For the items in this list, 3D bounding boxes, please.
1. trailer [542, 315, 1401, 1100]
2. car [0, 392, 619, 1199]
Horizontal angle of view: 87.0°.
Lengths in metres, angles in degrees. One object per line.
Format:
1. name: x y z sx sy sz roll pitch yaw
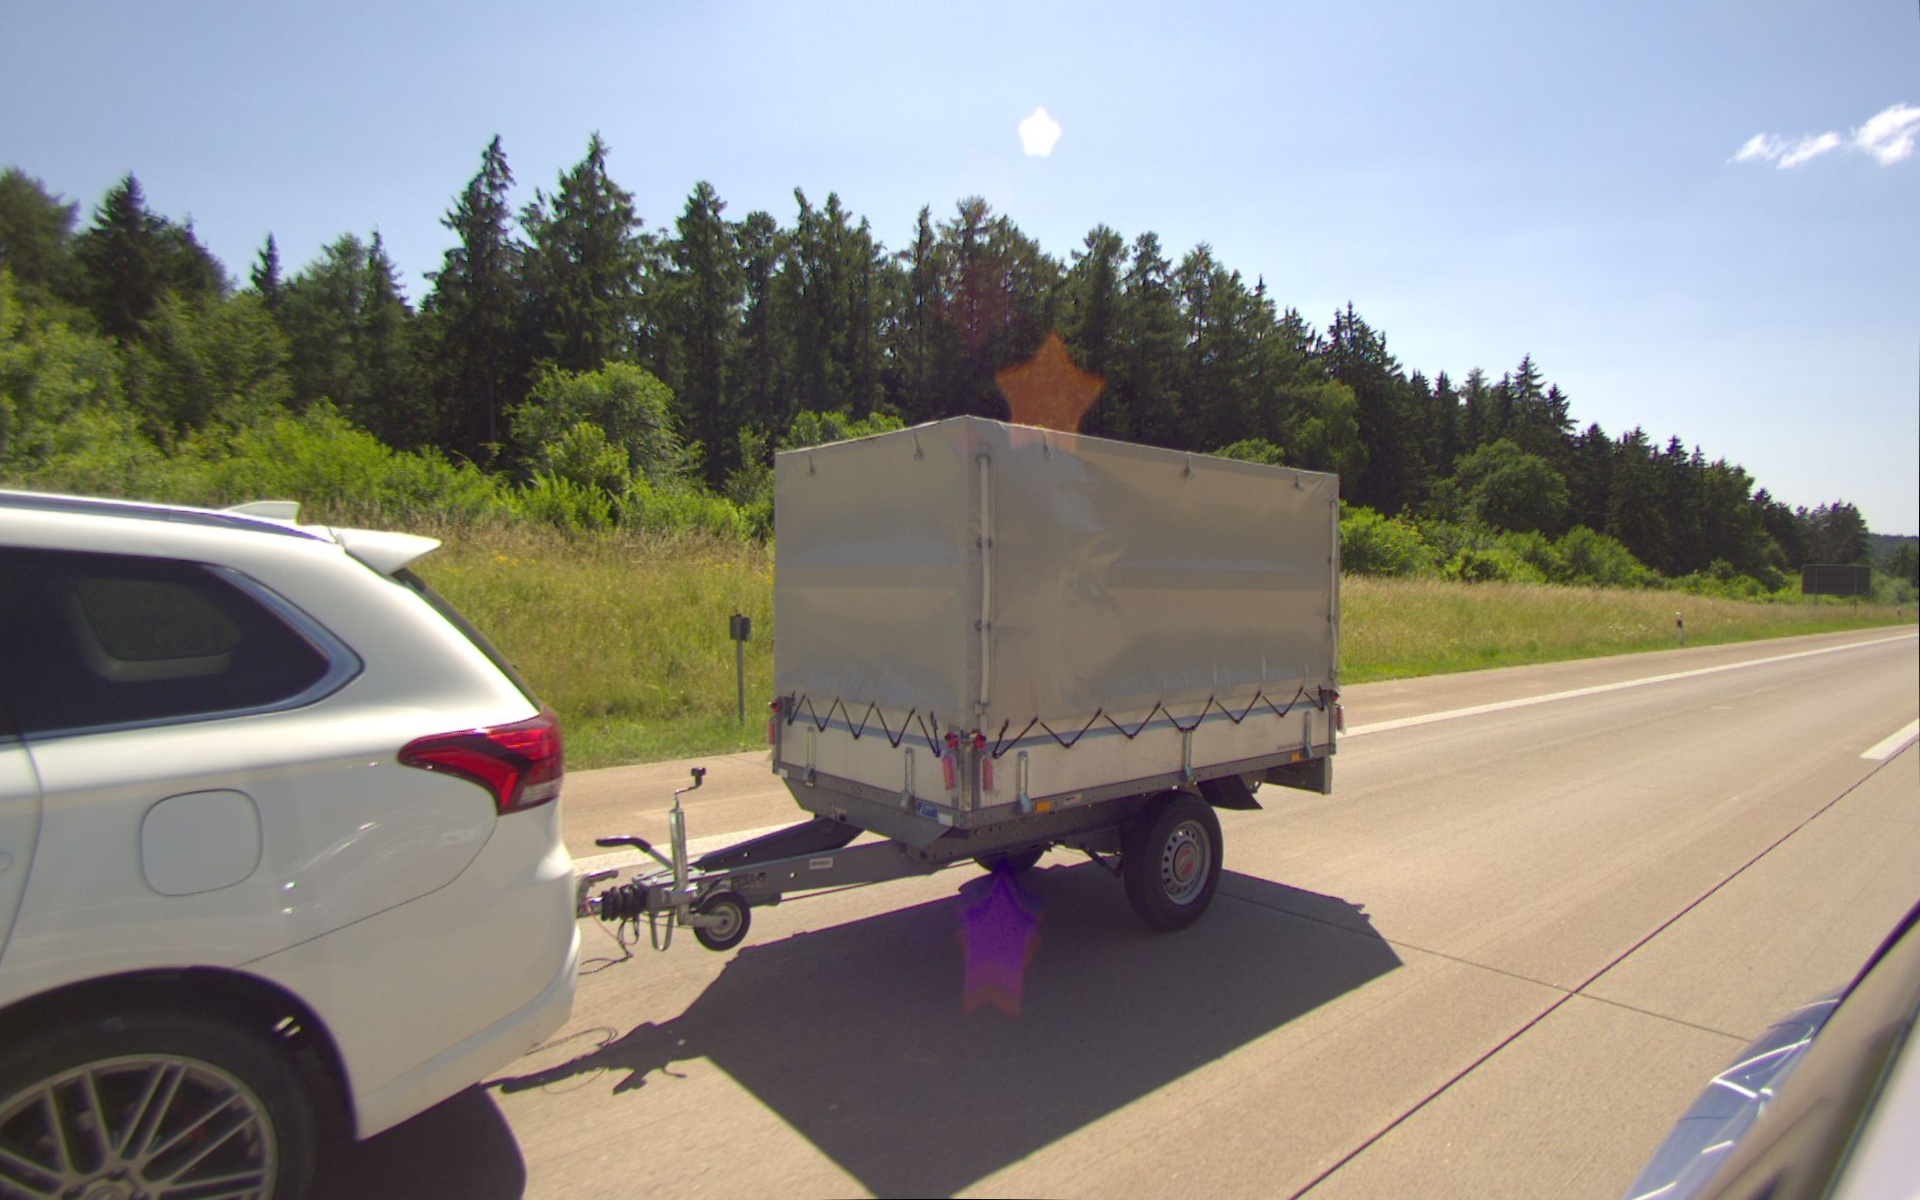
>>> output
1. trailer: 0.341 0.297 4.764 3.946 2.191 1.660 0 0 -41
2. car: -3.349 0.525 1.479 5.095 1.750 1.894 -1 1 -41
